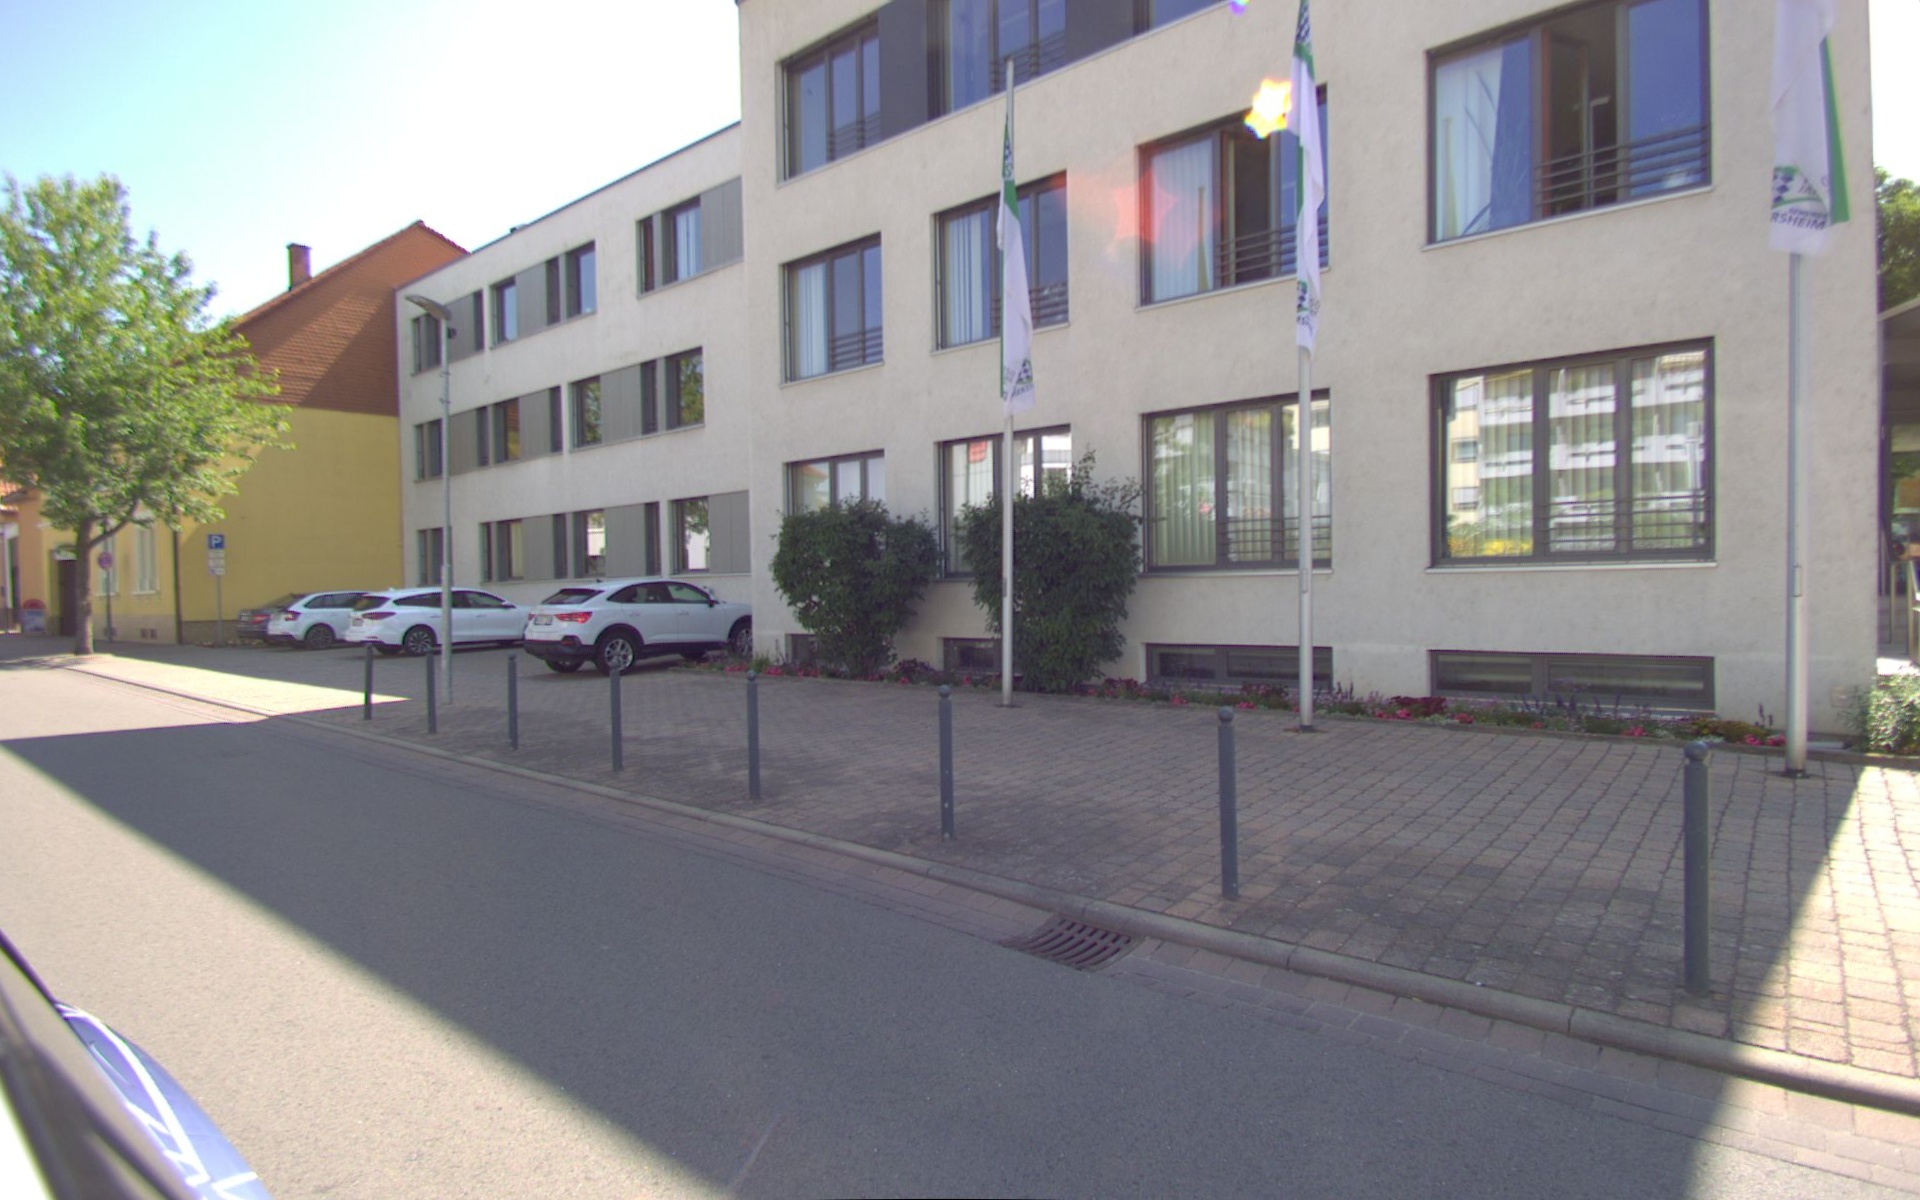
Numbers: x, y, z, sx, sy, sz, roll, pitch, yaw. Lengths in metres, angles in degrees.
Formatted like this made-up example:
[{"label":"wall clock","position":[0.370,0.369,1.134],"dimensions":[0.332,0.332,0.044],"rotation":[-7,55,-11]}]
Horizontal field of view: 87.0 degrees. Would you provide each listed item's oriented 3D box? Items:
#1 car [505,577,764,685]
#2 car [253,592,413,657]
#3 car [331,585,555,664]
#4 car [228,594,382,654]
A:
[{"label":"car","position":[-5.520,0.446,17.556],"dimensions":[1.747,1.559,3.949],"rotation":[-1,2,38]},{"label":"car","position":[-16.025,0.582,25.956],"dimensions":[1.642,1.461,3.099],"rotation":[-1,2,41]},{"label":"car","position":[-11.662,0.495,23.088],"dimensions":[1.512,1.489,4.270],"rotation":[0,2,40]},{"label":"car","position":[-17.679,0.614,27.421],"dimensions":[1.373,1.412,3.218],"rotation":[-1,2,38]}]
